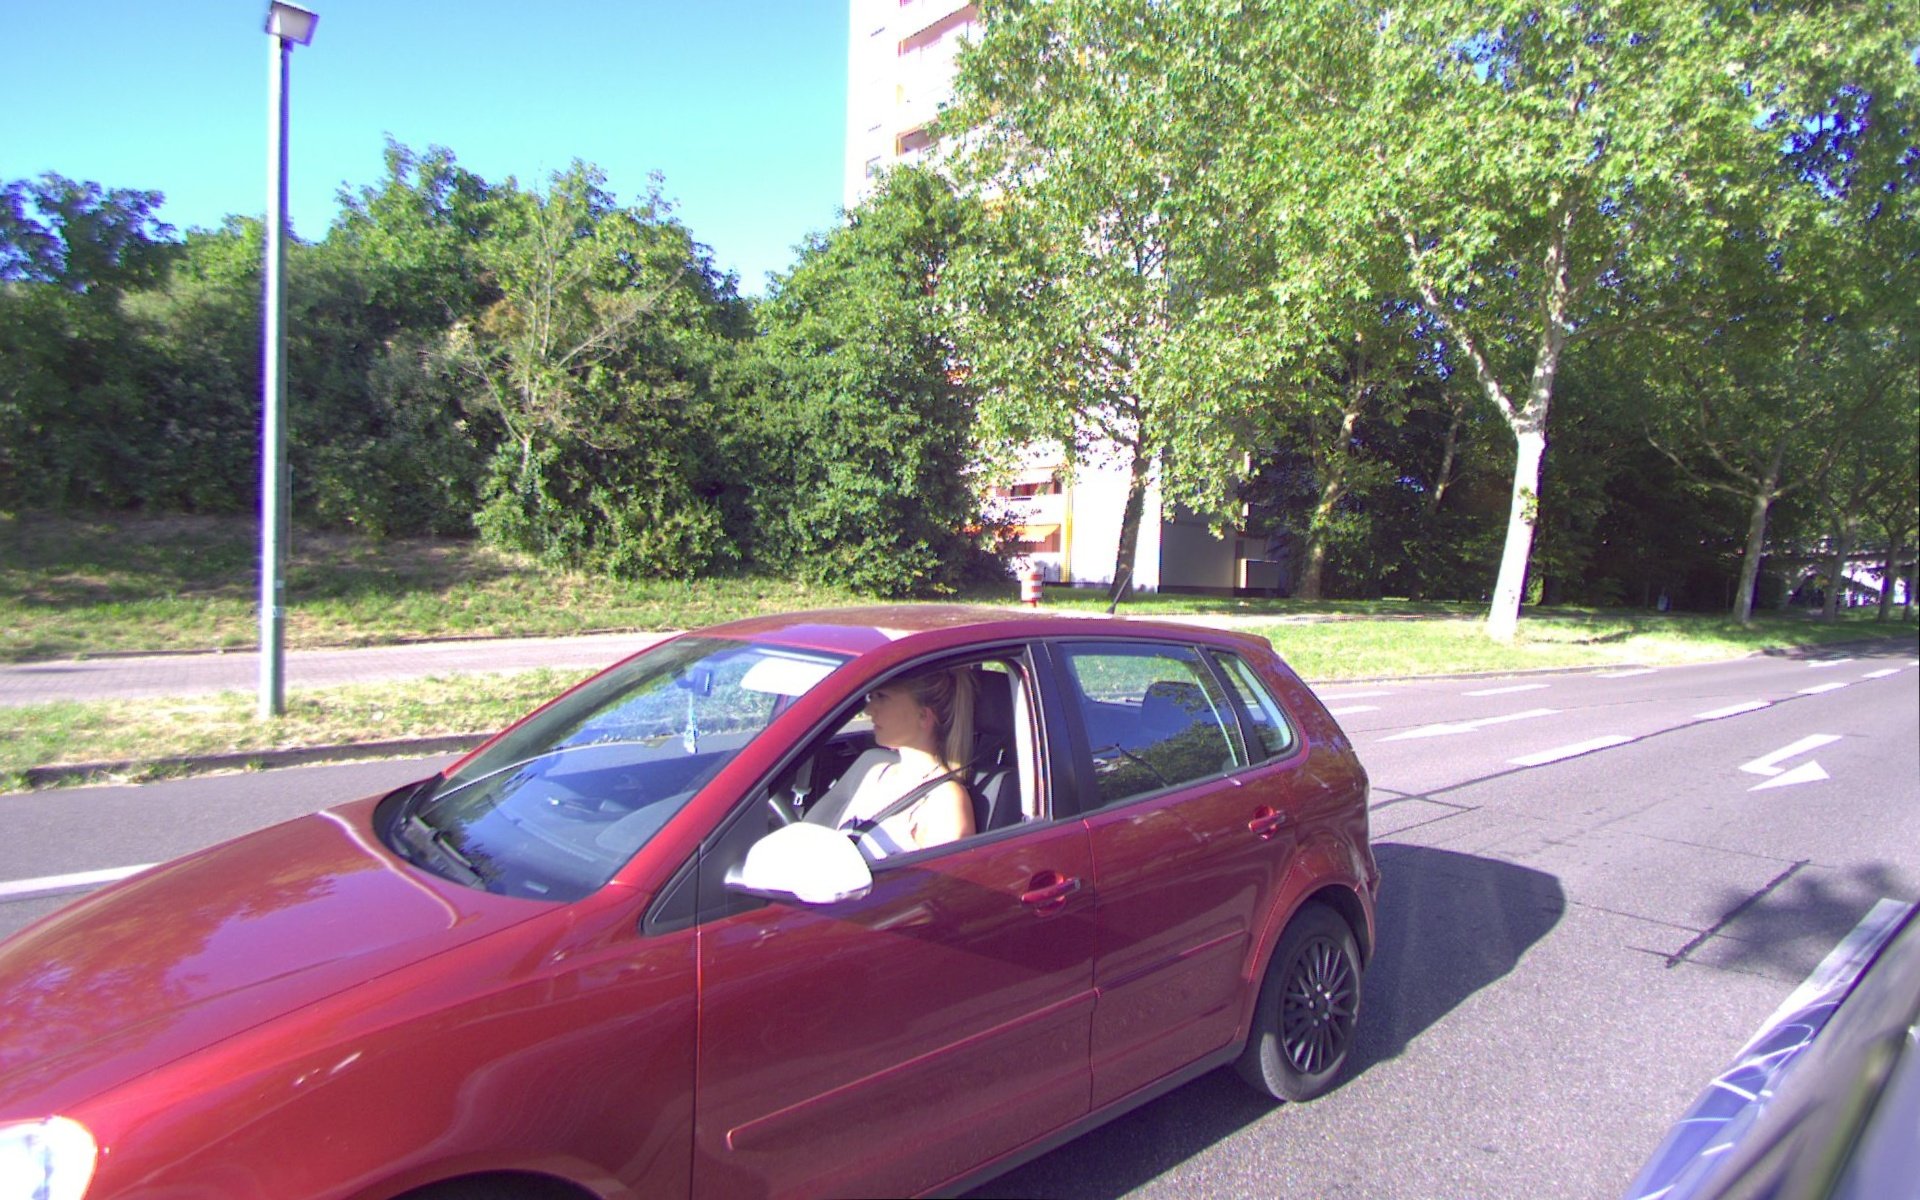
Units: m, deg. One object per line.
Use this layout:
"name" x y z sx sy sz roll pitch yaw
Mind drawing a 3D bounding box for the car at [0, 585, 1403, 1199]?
"car" -0.444 0.706 2.736 3.624 1.479 1.579 -1 0 -40
